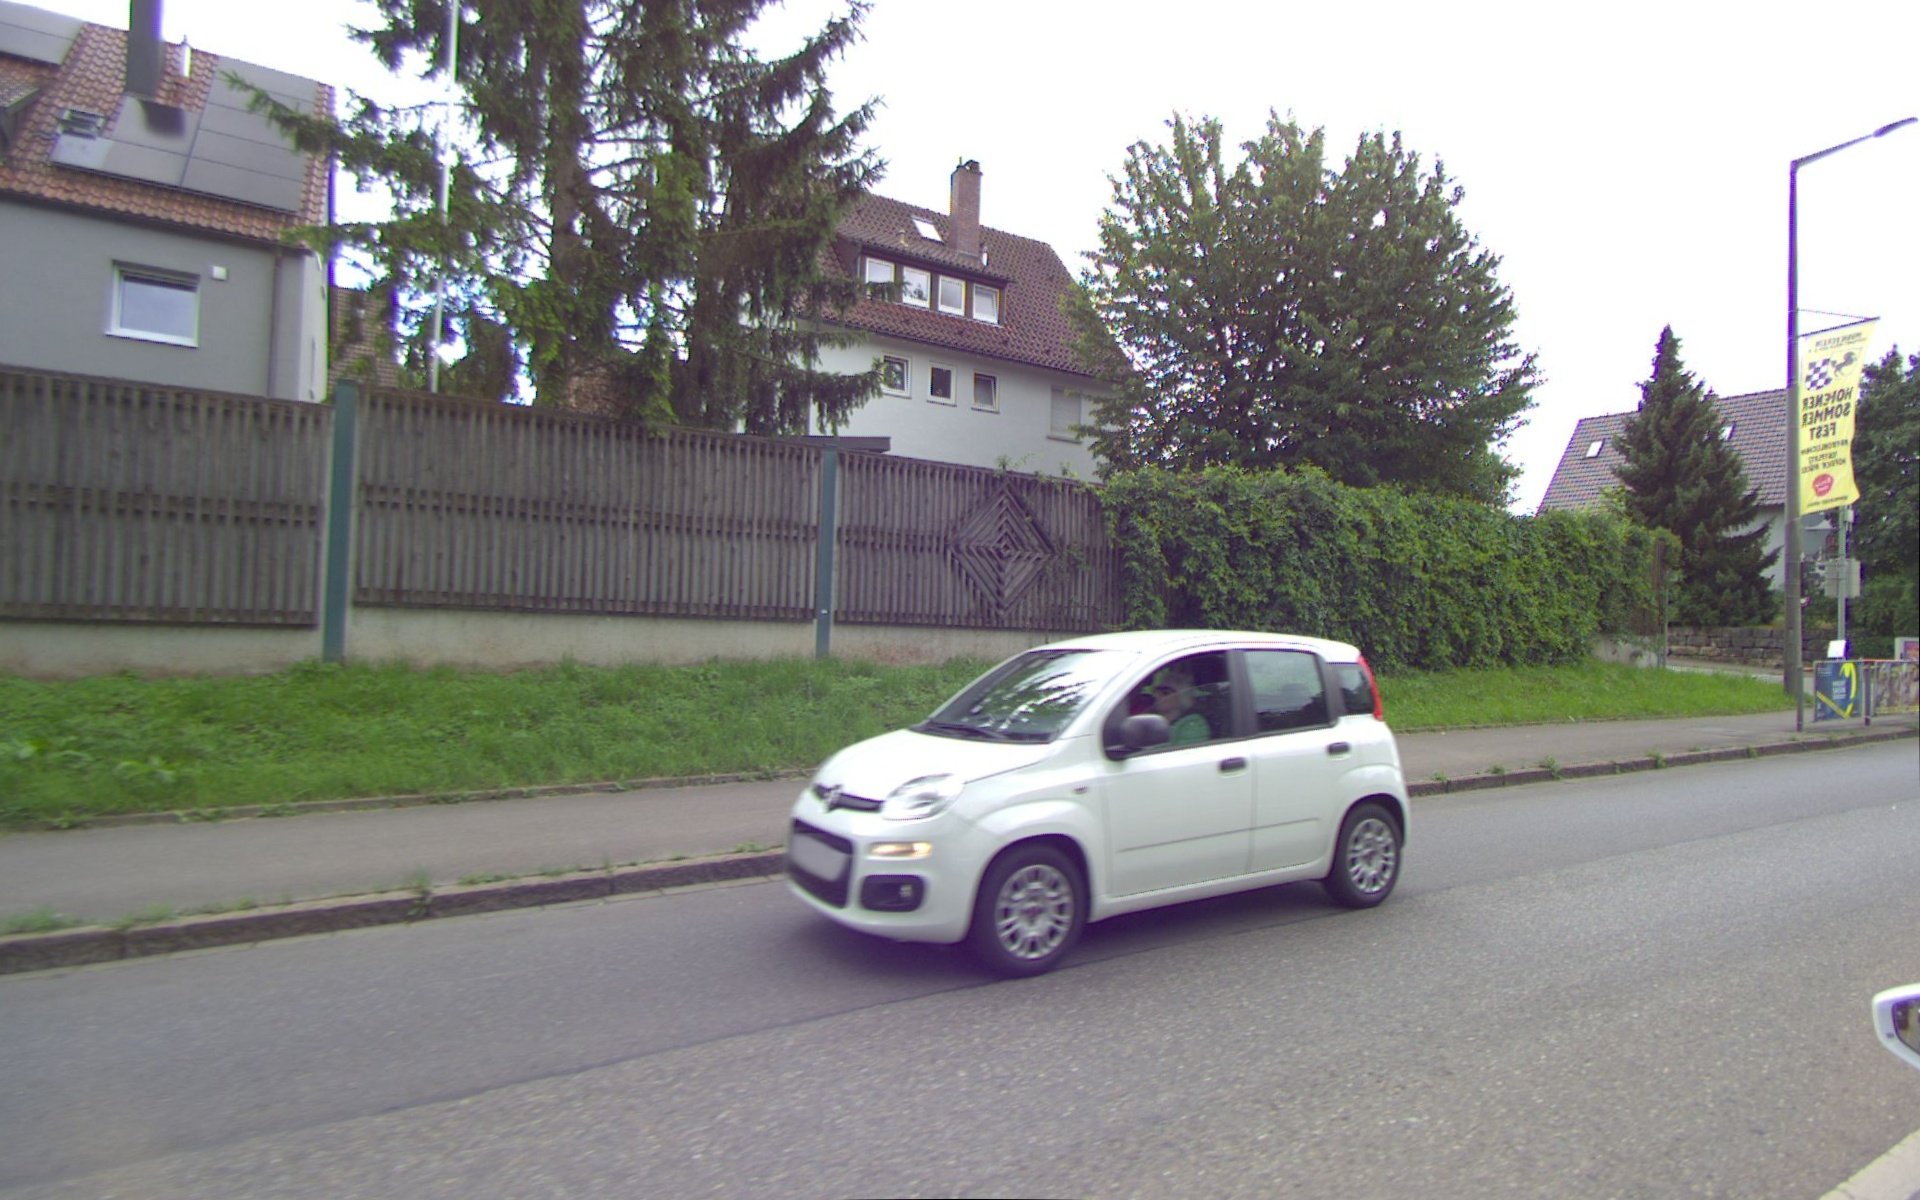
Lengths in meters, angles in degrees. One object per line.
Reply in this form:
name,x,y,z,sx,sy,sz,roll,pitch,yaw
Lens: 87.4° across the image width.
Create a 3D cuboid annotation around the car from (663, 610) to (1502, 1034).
car,0.892,0.905,5.704,4.649,1.544,1.803,2,-3,-32
